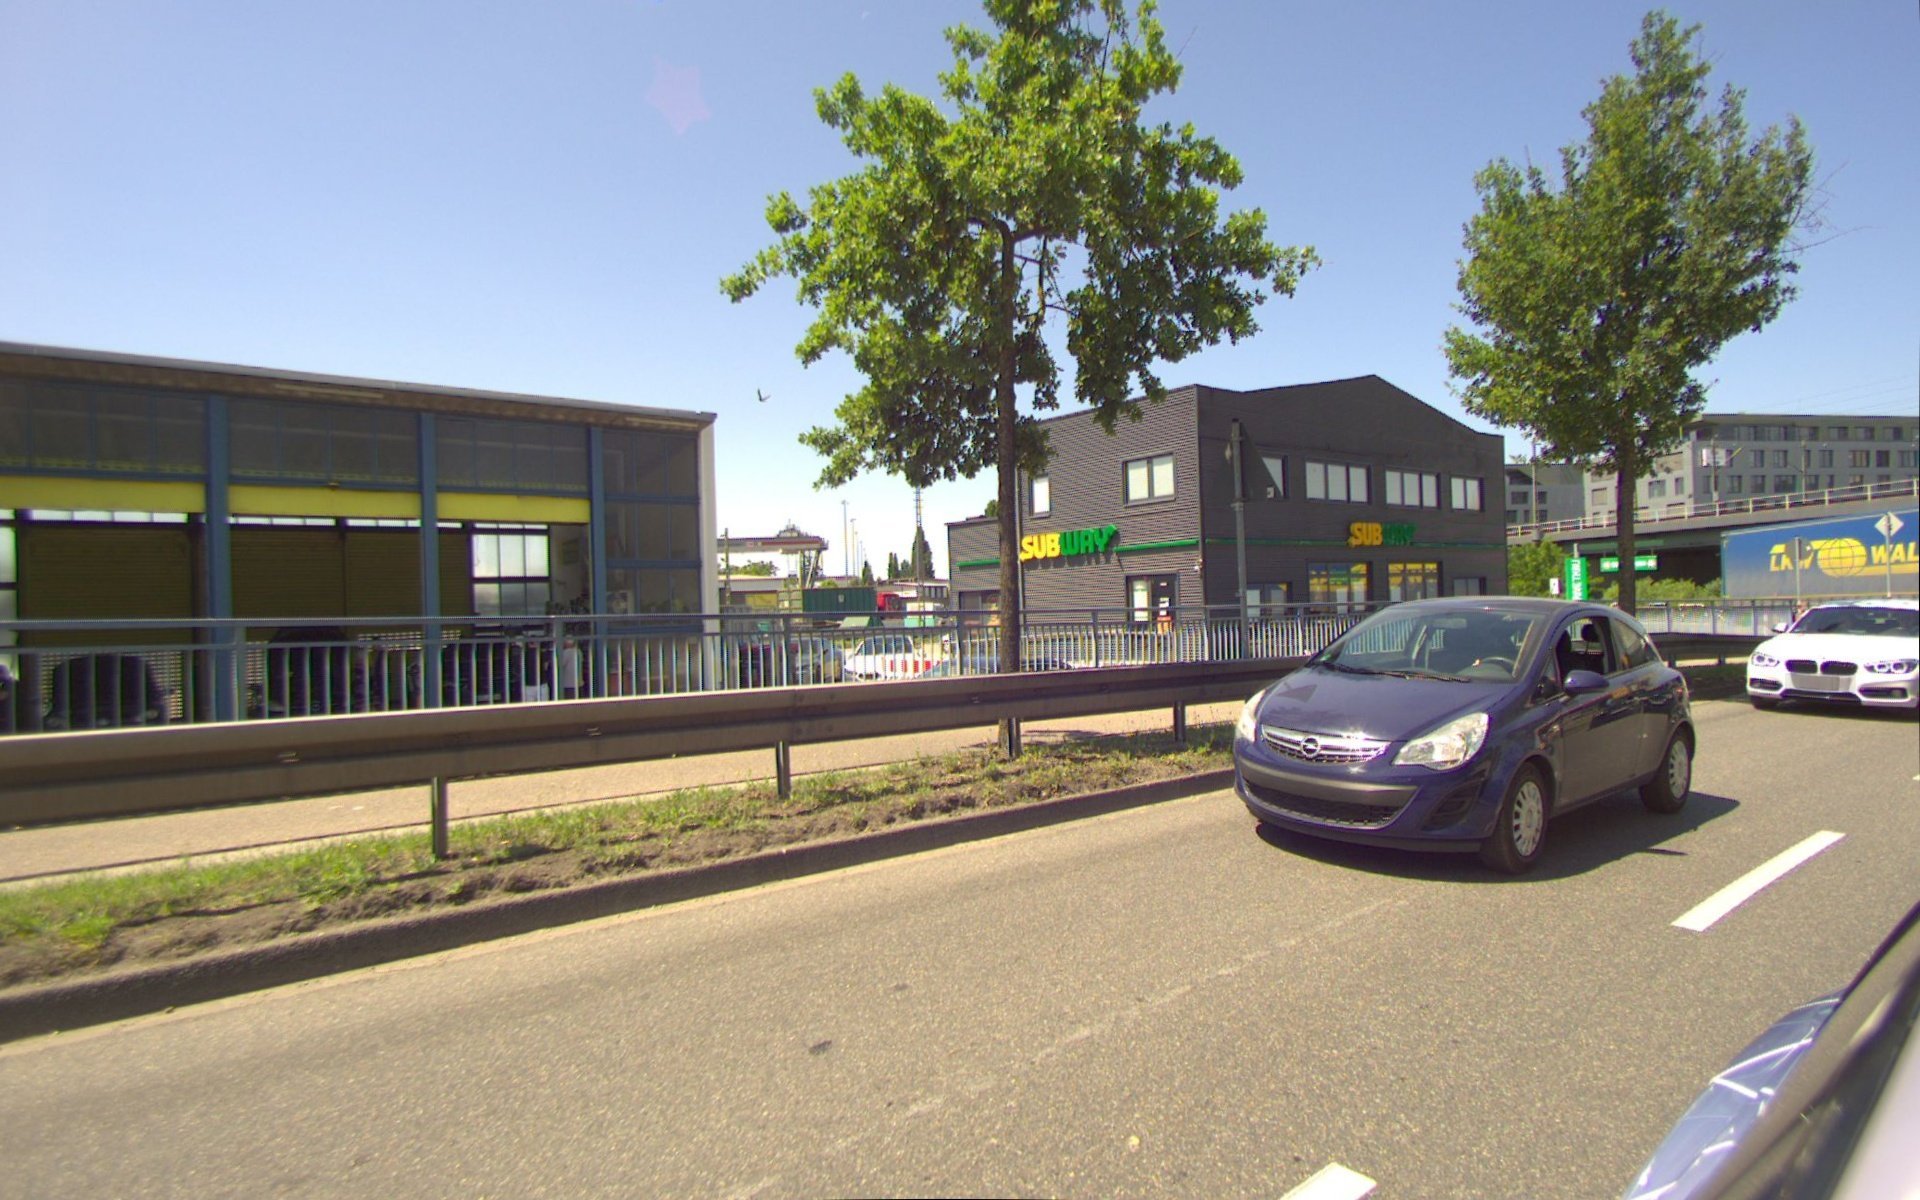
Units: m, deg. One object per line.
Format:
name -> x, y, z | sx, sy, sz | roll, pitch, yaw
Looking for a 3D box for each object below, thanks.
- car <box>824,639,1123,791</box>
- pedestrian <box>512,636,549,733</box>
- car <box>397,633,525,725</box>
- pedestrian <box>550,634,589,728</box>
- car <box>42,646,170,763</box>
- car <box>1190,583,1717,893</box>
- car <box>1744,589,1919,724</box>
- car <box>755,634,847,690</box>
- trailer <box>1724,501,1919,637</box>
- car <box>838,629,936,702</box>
car -> 0.253, 1.412, 13.639 | 3.828, 1.551, 1.637 | -1, 1, -37
pedestrian -> -7.939, 1.540, 18.705 | 0.479, 1.724, 0.523 | -1, 0, -37
car -> -11.083, 1.659, 22.369 | 1.622, 1.705, 3.672 | -1, 1, -42
pedestrian -> -7.408, 1.525, 19.204 | 0.579, 1.724, 0.427 | -1, 0, -38
car -> -15.538, 1.790, 18.364 | 1.623, 1.705, 3.672 | -1, 1, -42
car -> 3.376, 0.641, 6.629 | 3.821, 1.462, 1.650 | 0, 0, -39
car -> 12.147, 0.628, 13.336 | 3.976, 1.461, 1.764 | -1, 2, -35
car -> -4.324, 1.671, 27.956 | 1.455, 1.268, 3.604 | -1, 1, 9
trailer -> 30.727, -0.960, 32.711 | 2.456, 4.142, 13.885 | -1, 0, 5
car -> -1.678, 1.520, 24.966 | 1.962, 1.375, 5.082 | -1, 1, 1
